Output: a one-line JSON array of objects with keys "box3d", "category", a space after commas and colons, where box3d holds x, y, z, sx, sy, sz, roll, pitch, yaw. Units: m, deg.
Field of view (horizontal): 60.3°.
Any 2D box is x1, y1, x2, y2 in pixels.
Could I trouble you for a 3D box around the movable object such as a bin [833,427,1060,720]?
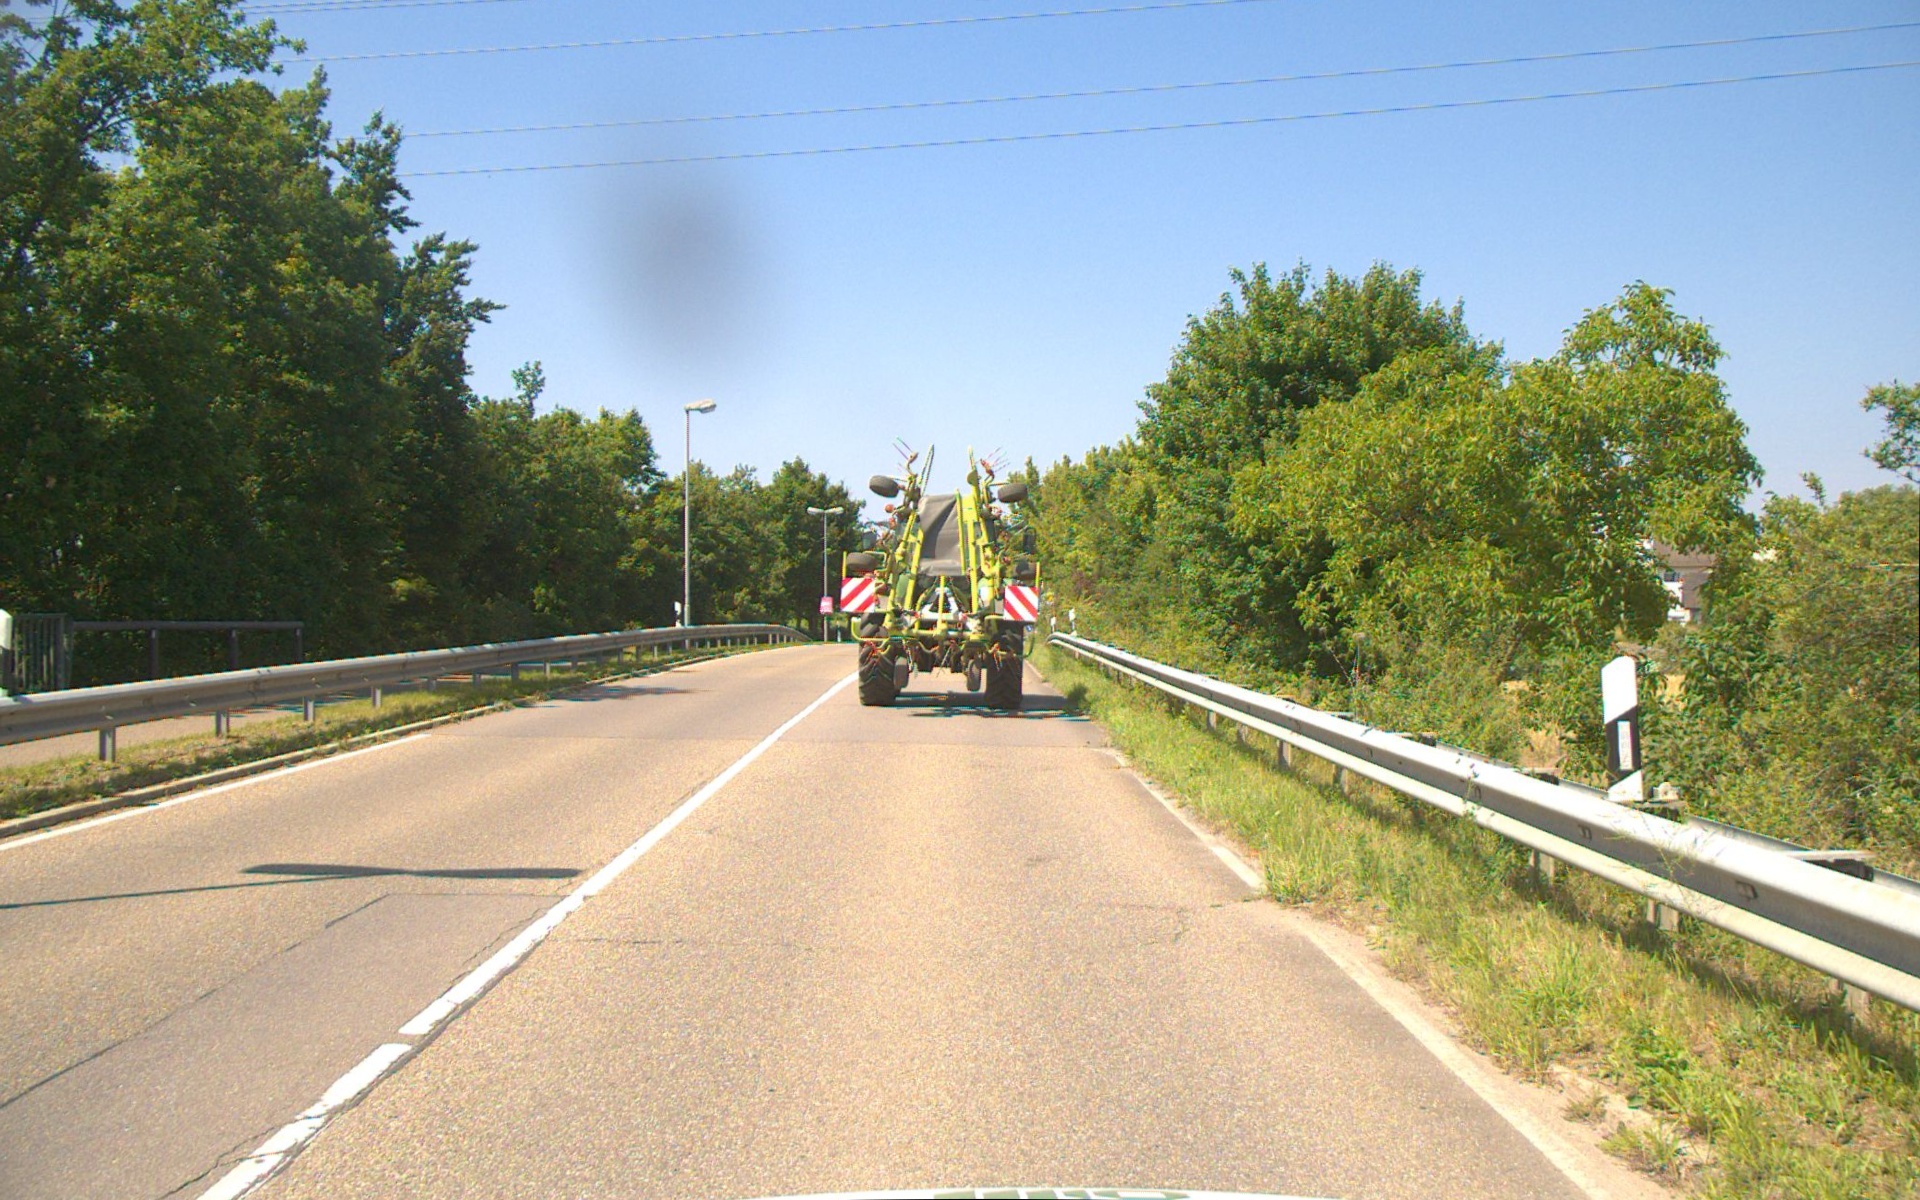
[{"box3d": [-0.181, -0.346, 22.785, 2.699, 3.504, 5.669, 1, 0, -1], "category": "movable object such as a bin"}]
